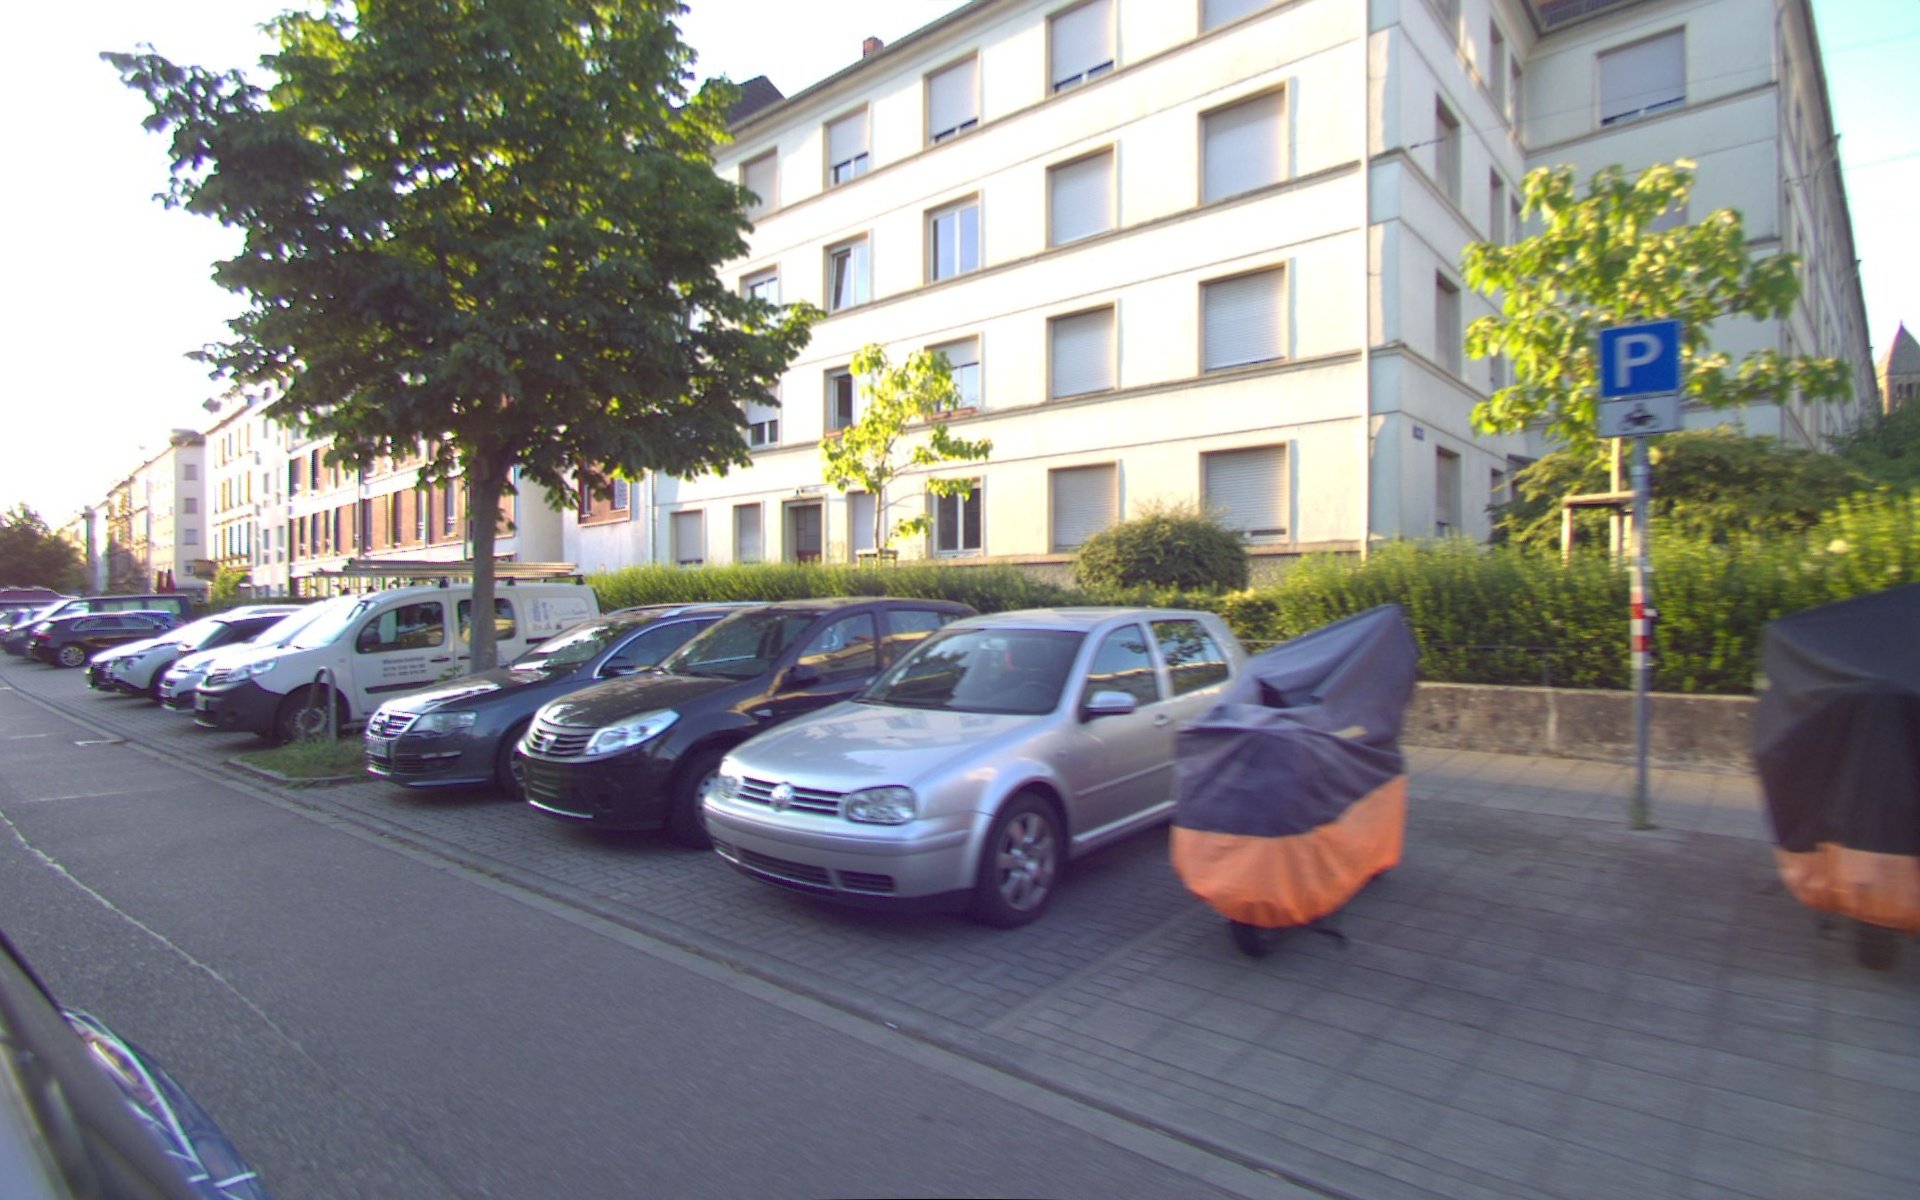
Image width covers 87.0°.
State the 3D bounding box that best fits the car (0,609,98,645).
[{"bbox_3d":[-43.622,1.260,47.763,1.706,1.536,4.288,-1,1,43],"label":"car"}]

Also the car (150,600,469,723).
[{"bbox_3d":[-10.338,0.875,16.315,1.755,1.495,3.946,-1,3,41],"label":"car"}]

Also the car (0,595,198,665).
[{"bbox_3d":[-27.407,0.906,32.229,4.798,2.070,2.001,0,-1,-44],"label":"car"}]

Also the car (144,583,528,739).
[{"bbox_3d":[-8.886,0.739,14.689,1.944,1.815,4.372,-1,1,44],"label":"car"}]

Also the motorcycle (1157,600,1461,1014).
[{"bbox_3d":[1.659,0.729,4.569,0.720,1.447,1.967,-1,0,37],"label":"motorcycle"}]

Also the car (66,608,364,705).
[{"bbox_3d":[-14.412,0.995,19.788,1.826,1.462,4.363,-1,2,41],"label":"car"}]

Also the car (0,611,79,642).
[{"bbox_3d":[-47.468,1.352,51.305,1.802,1.426,3.940,-1,1,37],"label":"car"}]

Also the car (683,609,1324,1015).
[{"bbox_3d":[0.483,0.834,5.820,1.690,1.517,3.672,-1,0,44],"label":"car"}]

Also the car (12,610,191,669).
[{"bbox_3d":[-25.577,1.127,30.248,1.653,1.504,3.844,-1,1,40],"label":"car"}]

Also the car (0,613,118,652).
[{"bbox_3d":[-38.232,1.323,42.540,1.789,1.505,4.215,-1,0,44],"label":"car"}]

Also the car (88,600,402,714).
[{"bbox_3d":[-12.390,0.891,17.742,1.813,1.633,4.198,-1,1,43],"label":"car"}]

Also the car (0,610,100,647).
[{"bbox_3d":[-41.867,1.270,46.193,3.903,1.551,1.757,-1,1,-44],"label":"car"}]

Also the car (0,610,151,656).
[{"bbox_3d":[-32.766,1.161,37.484,2.049,1.601,3.952,-1,-1,35],"label":"car"}]

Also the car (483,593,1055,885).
[{"bbox_3d":[-1.197,0.753,7.565,1.729,1.595,3.943,-1,0,44],"label":"car"}]

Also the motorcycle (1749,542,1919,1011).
[{"bbox_3d":[3.993,0.595,4.279,0.774,1.594,2.205,-1,0,45],"label":"motorcycle"}]

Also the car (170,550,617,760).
[{"bbox_3d":[-6.936,0.521,12.741,4.461,2.085,2.001,-4,2,-45],"label":"car"}]

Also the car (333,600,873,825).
[{"bbox_3d":[-3.024,0.792,9.268,1.852,1.416,4.279,-1,2,44],"label":"car"}]

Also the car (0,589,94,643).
[{"bbox_3d":[-45.563,0.765,49.784,1.933,2.576,4.351,-1,0,45],"label":"car"}]

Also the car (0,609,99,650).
[{"bbox_3d":[-40.144,1.278,44.148,3.841,1.629,1.701,-1,1,-44],"label":"car"}]

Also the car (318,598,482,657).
[{"bbox_3d":[-17.050,0.780,30.964,1.997,1.646,3.949,-1,0,37],"label":"car"}]

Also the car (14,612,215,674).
[{"bbox_3d":[-23.889,1.163,28.711,1.737,1.426,4.098,-1,2,39],"label":"car"}]

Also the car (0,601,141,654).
[{"bbox_3d":[-34.269,1.003,38.856,1.896,1.910,4.136,-1,-1,39],"label":"car"}]
